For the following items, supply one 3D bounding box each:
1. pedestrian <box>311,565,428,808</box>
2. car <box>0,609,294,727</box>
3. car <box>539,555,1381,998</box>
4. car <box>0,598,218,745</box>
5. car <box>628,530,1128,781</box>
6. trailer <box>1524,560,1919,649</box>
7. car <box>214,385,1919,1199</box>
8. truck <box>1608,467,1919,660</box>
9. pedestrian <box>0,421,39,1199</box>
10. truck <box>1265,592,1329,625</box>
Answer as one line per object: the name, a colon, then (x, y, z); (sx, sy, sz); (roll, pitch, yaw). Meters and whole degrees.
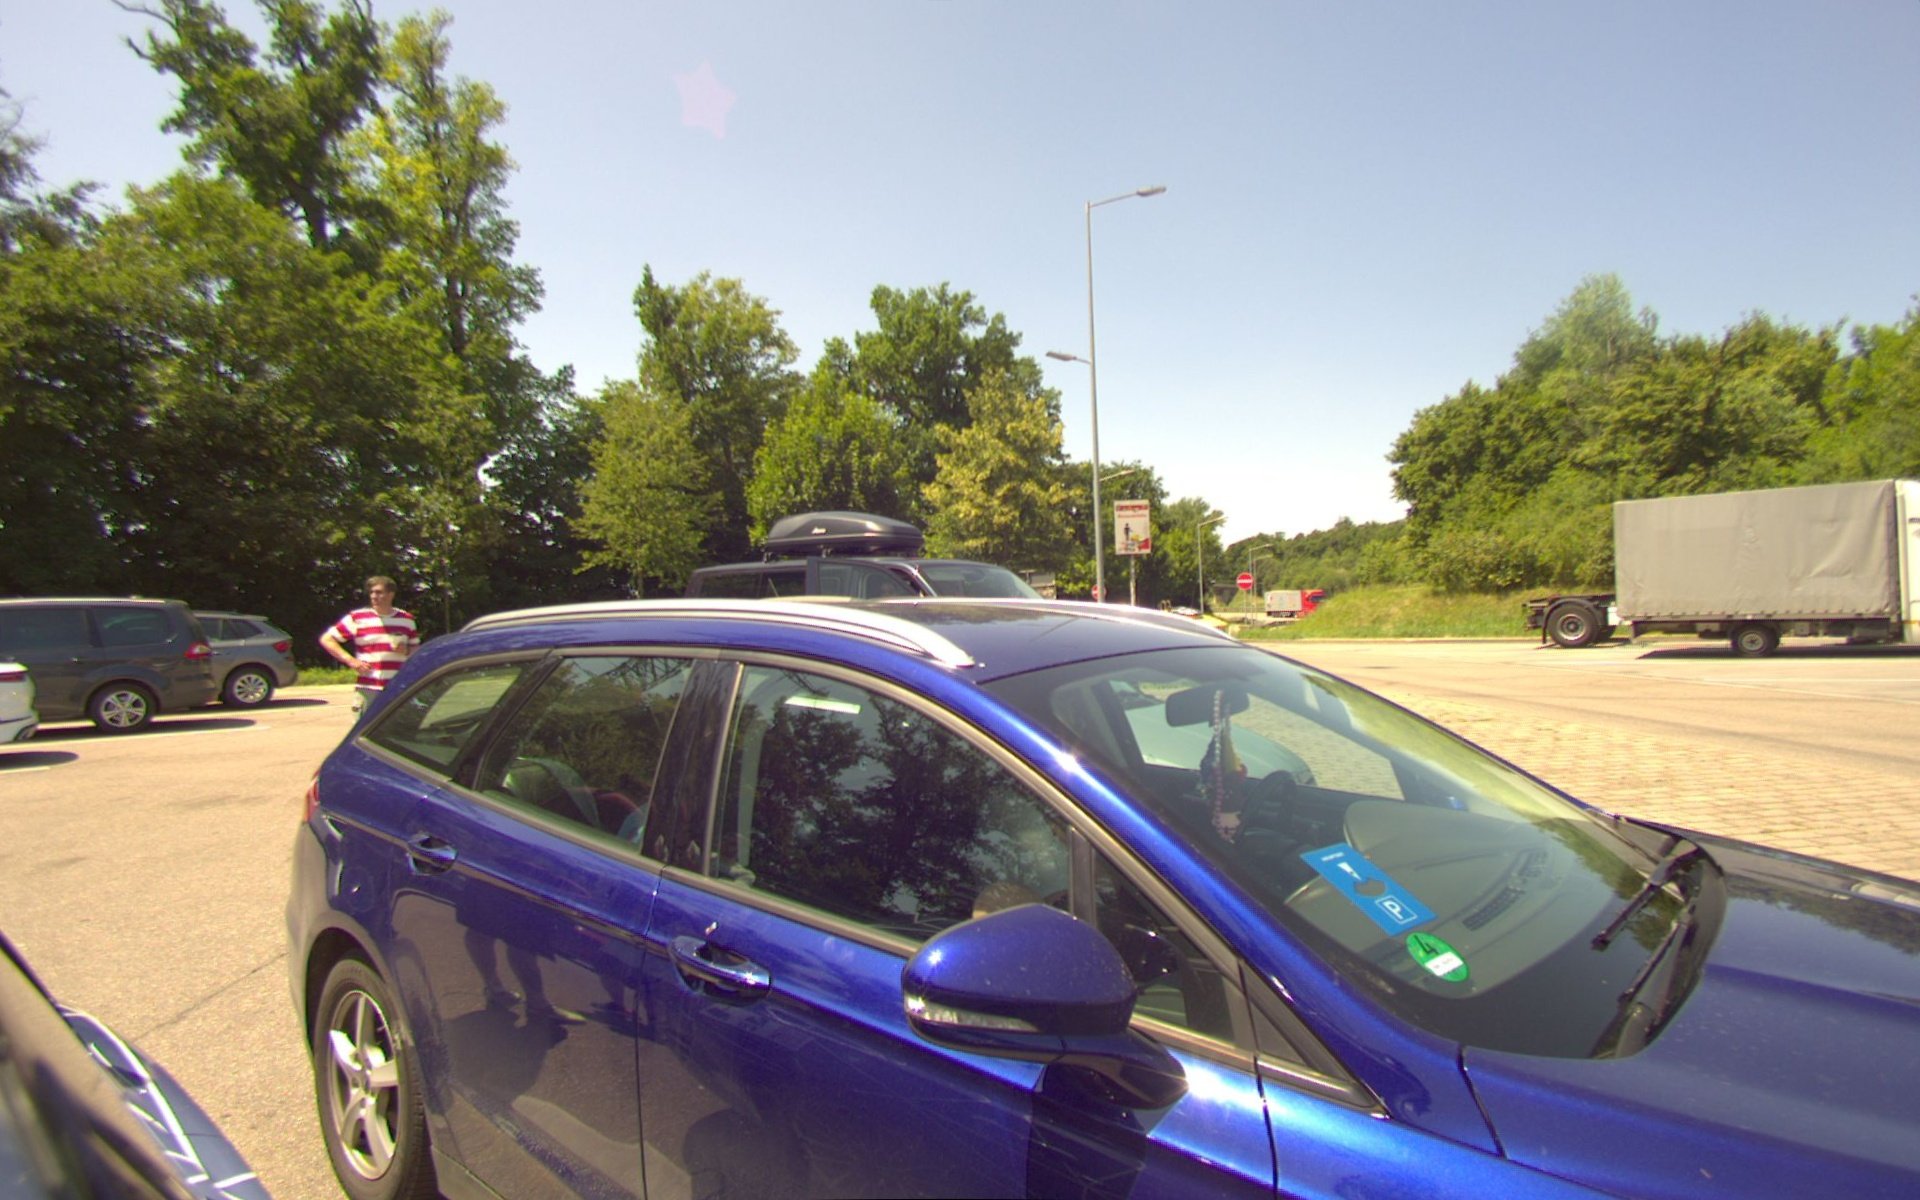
pedestrian: (-4.578, 0.625, 7.866); (0.742, 1.767, 0.787); (-1, 0, -30)
car: (-12.630, 0.966, 15.655); (3.767, 1.572, 1.654); (-1, 0, -38)
car: (-0.329, 0.667, 5.601); (4.569, 1.517, 1.735); (-3, 0, 40)
car: (-11.638, 0.862, 12.648); (3.767, 1.708, 1.654); (-1, 0, -38)
car: (-0.900, 0.495, 9.650); (4.558, 1.912, 1.740); (-3, 0, 32)
trailer: (17.699, 0.157, 23.100); (8.098, 1.638, 2.187); (-4, -1, 41)
car: (0.226, 0.631, 2.065); (4.569, 1.482, 1.735); (-3, 0, 40)
truck: (16.774, -0.648, 19.003); (7.274, 3.269, 2.678); (-4, -1, 42)
pedestrian: (-2.735, 0.517, 2.234); (0.905, 1.919, 0.816); (-1, 0, -33)
truck: (49.120, 1.232, 148.139); (2.715, 4.589, 14.091); (-1, 0, -9)
